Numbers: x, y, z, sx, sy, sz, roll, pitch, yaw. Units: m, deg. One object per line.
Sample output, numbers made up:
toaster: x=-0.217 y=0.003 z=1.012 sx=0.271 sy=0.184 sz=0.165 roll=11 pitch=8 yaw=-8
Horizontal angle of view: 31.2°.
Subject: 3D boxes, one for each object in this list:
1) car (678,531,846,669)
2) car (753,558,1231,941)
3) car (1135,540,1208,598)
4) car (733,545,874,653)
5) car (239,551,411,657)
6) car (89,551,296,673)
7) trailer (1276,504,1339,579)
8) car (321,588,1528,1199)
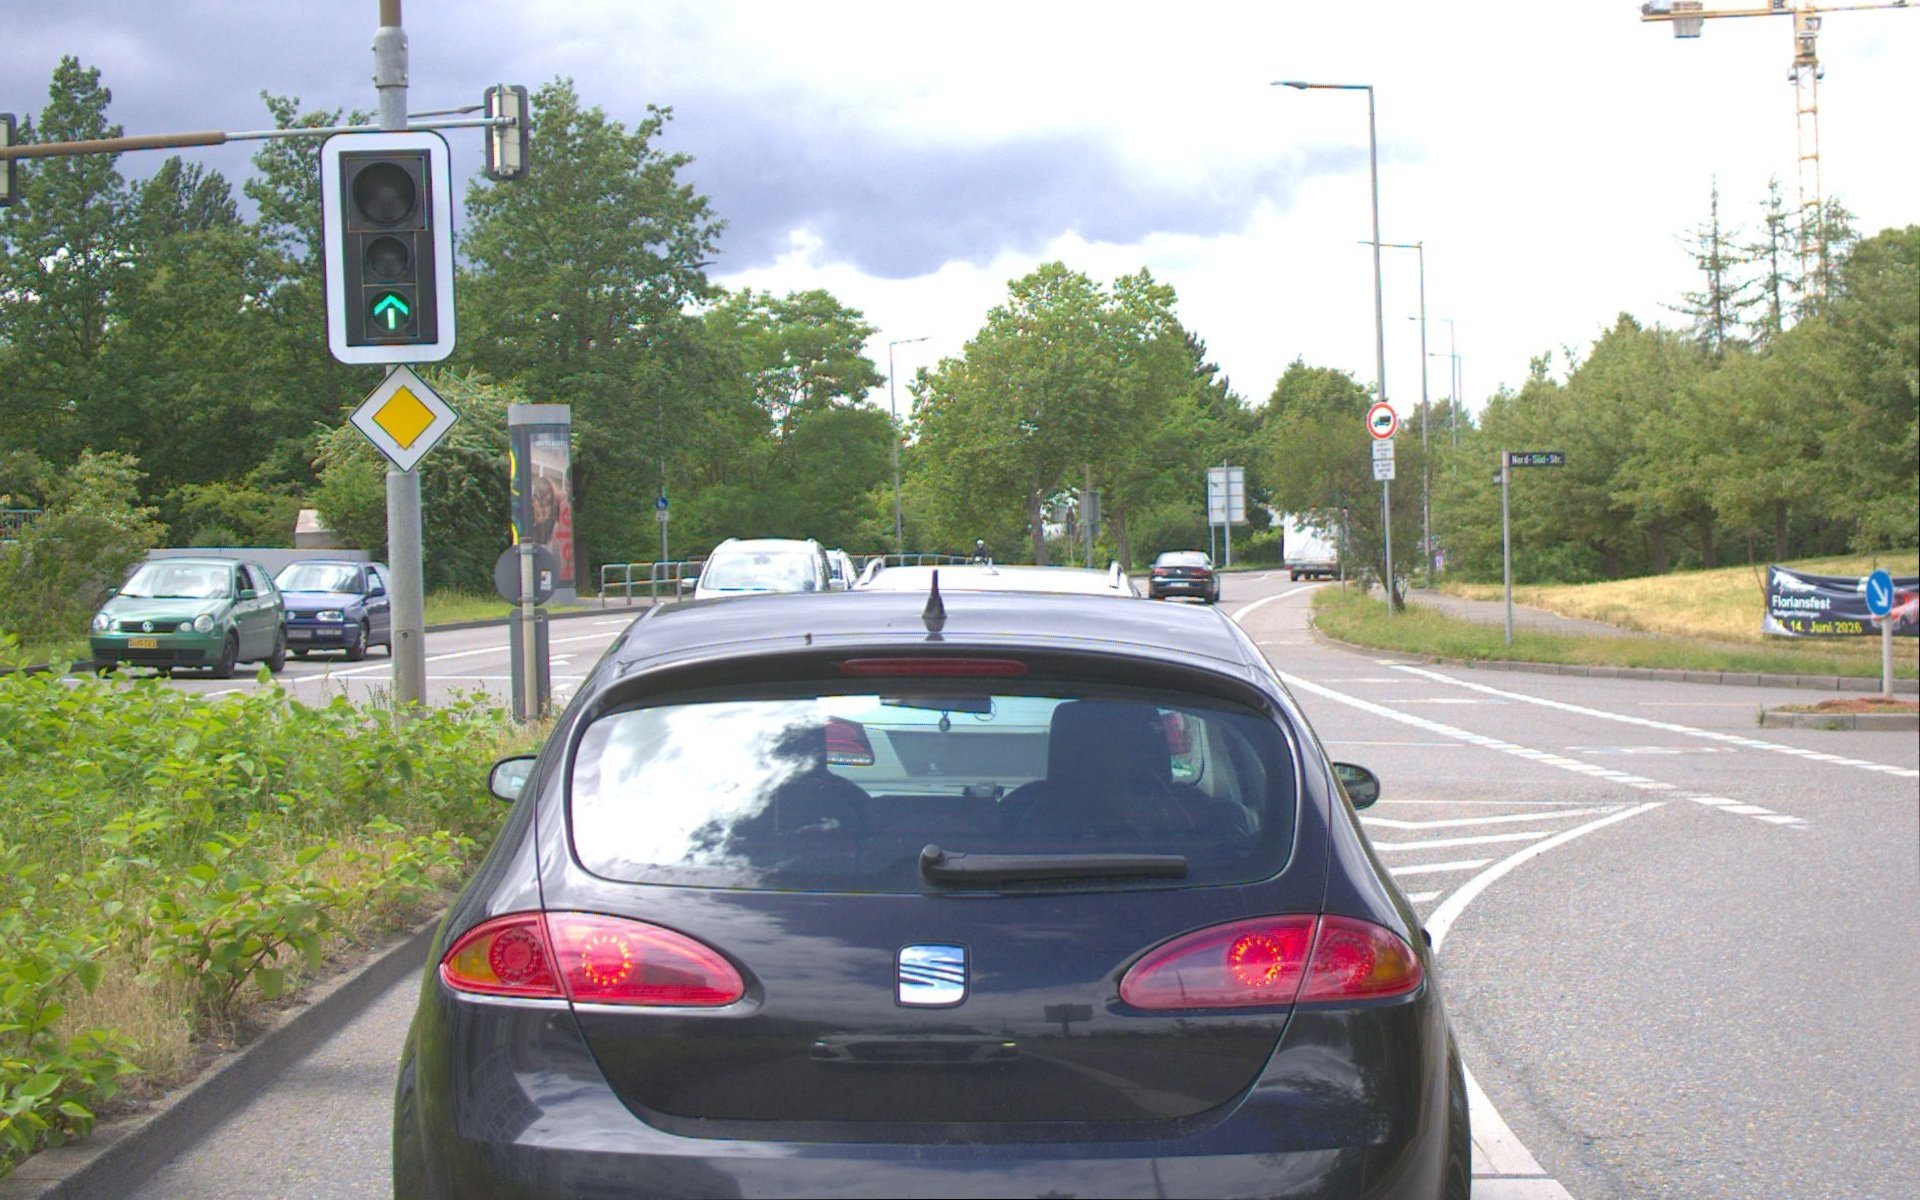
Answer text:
car: x=-2.542 y=-0.043 z=45.014 sx=1.820 sy=1.681 sz=4.645 roll=1 pitch=1 yaw=1
car: x=0.143 y=0.569 z=15.203 sx=1.834 sy=1.462 sz=3.751 roll=1 pitch=0 yaw=1
car: x=5.906 y=-0.890 z=96.199 sx=1.994 sy=1.560 sz=4.470 roll=0 pitch=1 yaw=3
car: x=-2.286 y=-0.046 z=51.094 sx=1.660 sy=1.513 sz=4.084 roll=1 pitch=1 yaw=3
car: x=-9.013 y=0.026 z=49.080 sx=1.554 sy=1.414 sz=3.895 roll=0 pitch=1 yaw=3
car: x=-9.395 y=0.117 z=42.326 sx=1.605 sy=1.427 sz=3.752 roll=0 pitch=1 yaw=2
trailer: x=14.651 y=-2.440 z=144.641 sx=2.492 sy=3.063 sz=5.585 roll=1 pitch=0 yaw=7
car: x=-0.068 y=0.714 z=6.625 sx=1.711 sy=1.412 sz=3.459 roll=0 pitch=1 yaw=0
